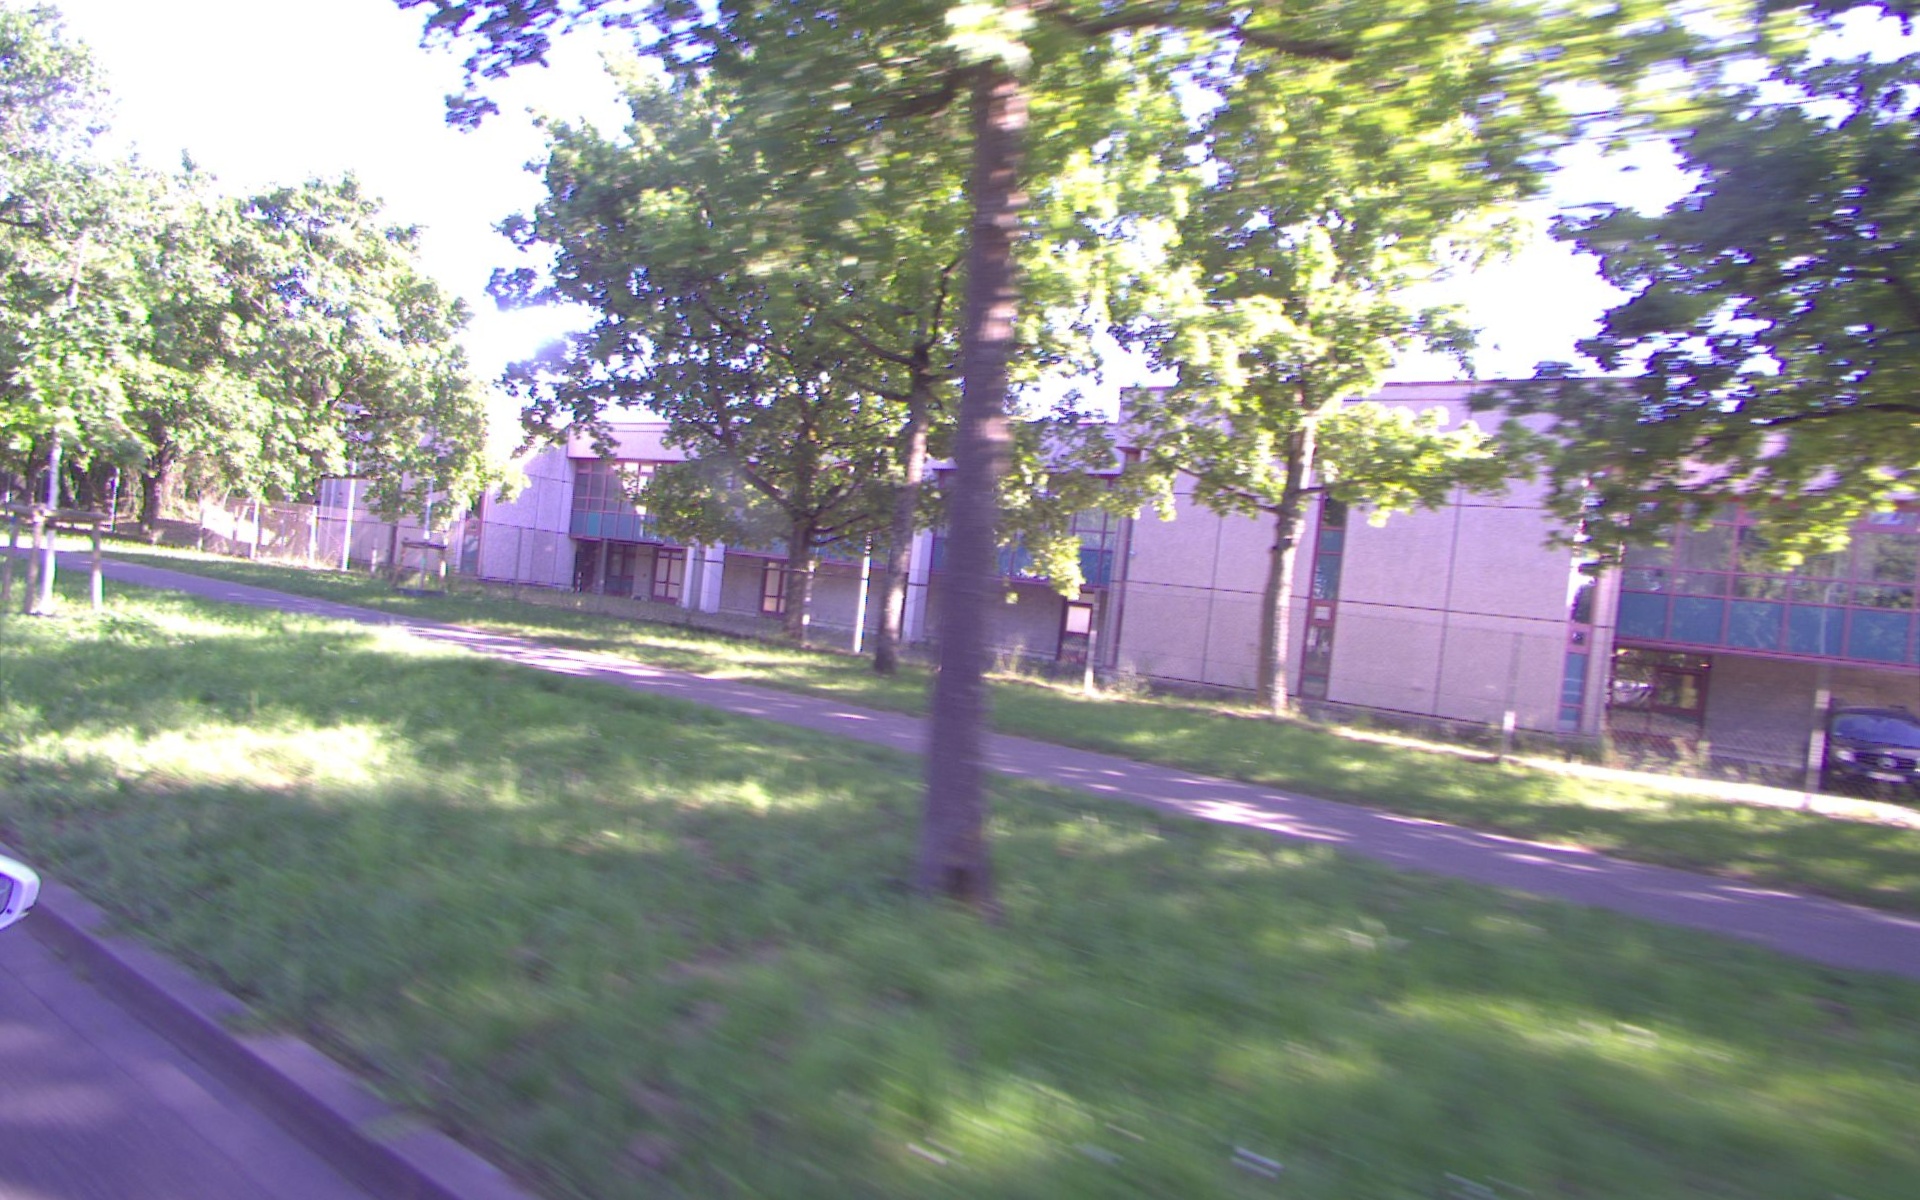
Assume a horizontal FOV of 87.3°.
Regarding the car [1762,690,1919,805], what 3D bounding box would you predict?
[{"bbox_3d":[19.165,3.062,21.533,1.965,1.907,4.958,6,0,27],"label":"car"}]
